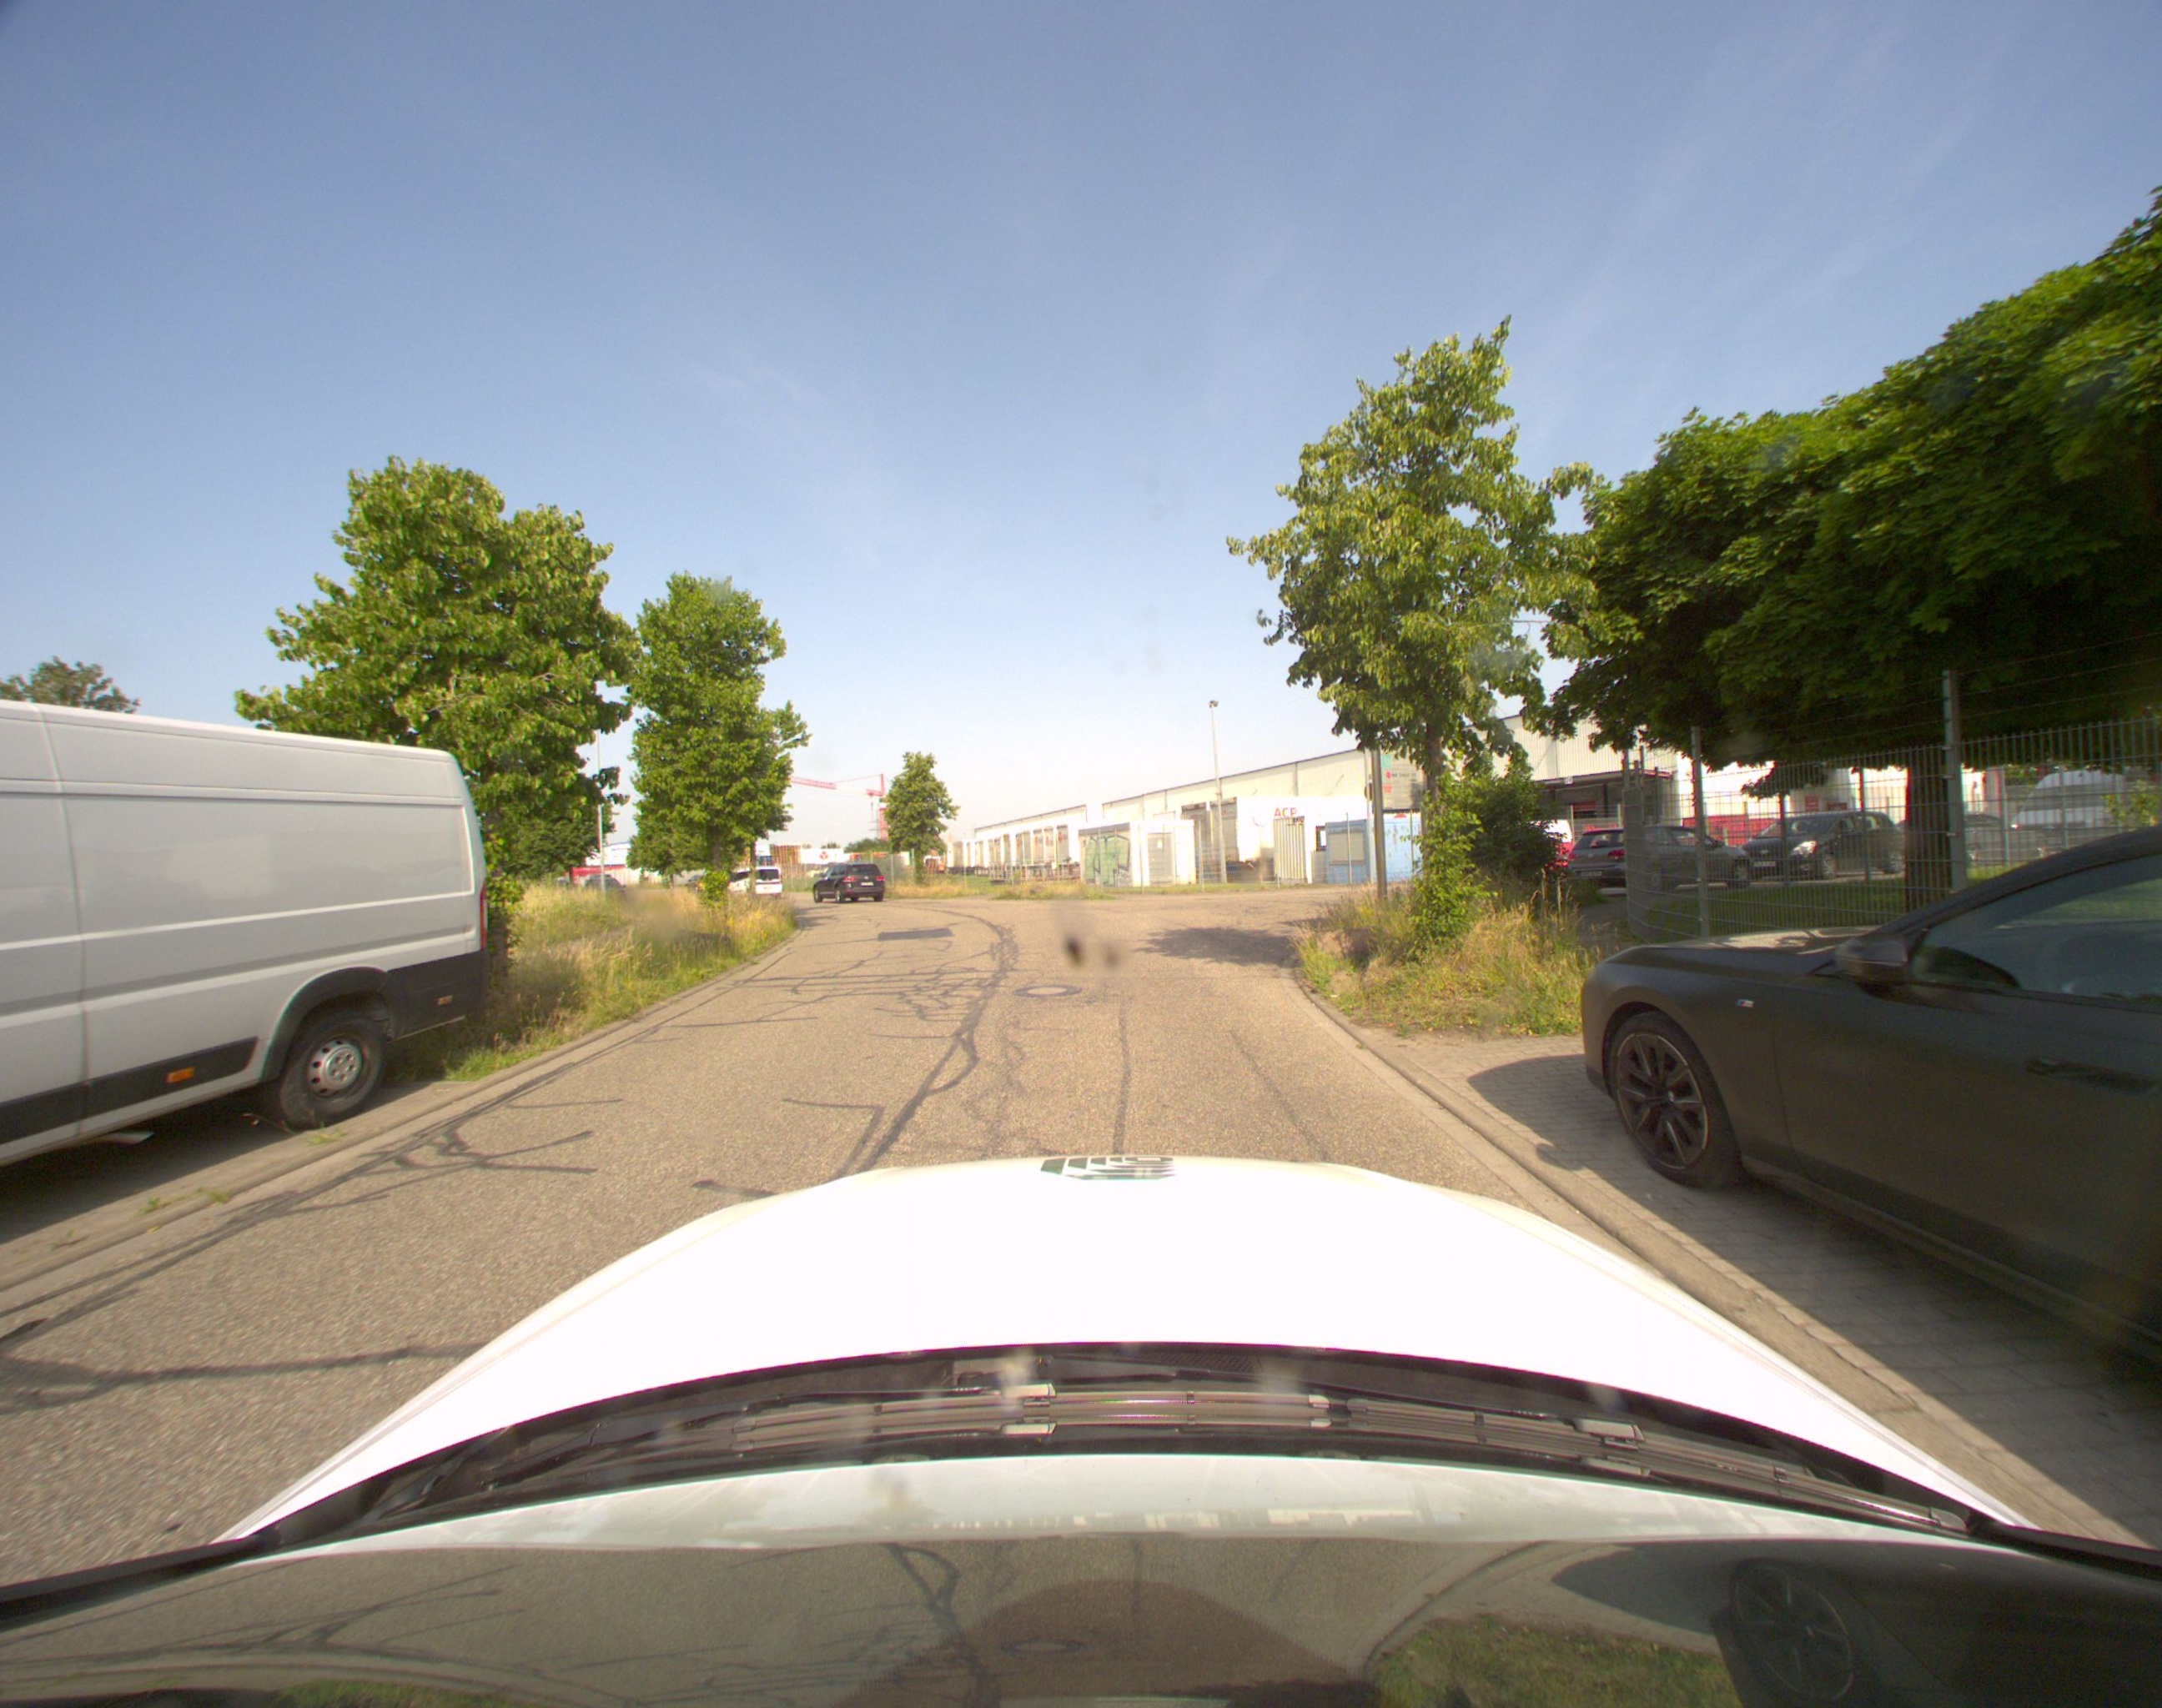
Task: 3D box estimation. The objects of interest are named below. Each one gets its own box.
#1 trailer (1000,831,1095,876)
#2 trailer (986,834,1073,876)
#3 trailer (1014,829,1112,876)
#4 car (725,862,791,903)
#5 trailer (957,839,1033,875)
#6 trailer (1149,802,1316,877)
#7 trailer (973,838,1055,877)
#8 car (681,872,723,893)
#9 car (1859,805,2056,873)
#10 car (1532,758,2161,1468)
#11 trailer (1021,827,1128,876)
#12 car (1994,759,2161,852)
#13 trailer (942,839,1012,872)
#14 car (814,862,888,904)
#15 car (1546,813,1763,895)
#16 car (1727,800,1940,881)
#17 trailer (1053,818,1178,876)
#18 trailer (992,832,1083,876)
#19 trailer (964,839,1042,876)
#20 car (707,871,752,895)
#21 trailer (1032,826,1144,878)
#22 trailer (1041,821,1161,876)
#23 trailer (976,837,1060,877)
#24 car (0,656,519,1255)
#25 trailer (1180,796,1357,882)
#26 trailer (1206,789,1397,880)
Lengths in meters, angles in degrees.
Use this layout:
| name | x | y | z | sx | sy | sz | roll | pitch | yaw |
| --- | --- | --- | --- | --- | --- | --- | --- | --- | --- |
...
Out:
| name | x | y | z | sx | sy | sz | roll | pitch | yaw |
| --- | --- | --- | --- | --- | --- | --- | --- | --- | --- |
| trailer | -2.997 | -0.090 | 73.120 | 7.995 | 3.893 | 2.755 | 0 | 0 | -22 |
| trailer | -4.973 | 0.049 | 78.899 | 7.995 | 3.893 | 2.755 | 0 | 0 | -22 |
| trailer | -1.563 | -0.171 | 70.509 | 8.066 | 3.893 | 2.755 | 0 | 0 | -22 |
| car | -18.408 | 1.620 | 46.319 | 2.139 | 2.110 | 4.570 | -2 | -1 | -40 |
| trailer | -9.635 | 0.315 | 90.926 | 7.995 | 3.893 | 2.755 | 0 | 0 | -22 |
| trailer | 8.281 | -0.818 | 44.447 | 8.767 | 3.761 | 2.770 | -2 | -1 | -22 |
| trailer | -6.981 | 0.322 | 84.912 | 7.995 | 3.893 | 2.755 | 0 | 0 | -22 |
| car | -29.366 | 2.195 | 63.080 | 1.730 | 1.455 | 4.136 | -5 | 1 | -42 |
| car | 23.019 | -0.384 | 21.400 | 4.490 | 1.518 | 1.717 | -2 | -2 | -18 |
| car | 3.283 | 0.511 | 1.731 | 1.873 | 1.574 | 5.121 | -4 | -1 | 2 |
| trailer | -0.523 | -0.222 | 66.689 | 8.341 | 3.893 | 2.755 | 0 | 0 | -22 |
| car | 30.485 | -1.451 | 24.001 | 6.845 | 2.483 | 2.194 | -2 | 1 | -18 |
| trailer | -12.695 | 0.122 | 99.278 | 7.995 | 3.893 | 2.722 | 0 | 0 | -22 |
| car | -9.915 | 1.228 | 34.872 | 1.894 | 1.586 | 4.071 | -2 | -1 | -33 |
| car | 12.404 | 0.015 | 17.659 | 3.959 | 1.524 | 1.717 | -2 | -3 | -18 |
| car | 17.778 | -0.315 | 19.267 | 4.269 | 1.626 | 1.865 | -2 | -3 | -20 |
| trailer | 2.465 | -0.496 | 58.023 | 8.570 | 3.893 | 2.755 | 0 | 0 | -22 |
| trailer | -4.037 | -0.010 | 75.912 | 7.995 | 3.893 | 2.755 | 0 | 0 | -22 |
| trailer | -8.382 | 0.361 | 87.889 | 7.995 | 3.893 | 2.755 | 0 | 0 | -22 |
| car | -25.579 | 2.115 | 59.229 | 1.730 | 1.515 | 3.955 | -5 | 1 | -43 |
| trailer | 0.568 | -0.136 | 63.848 | 8.341 | 3.893 | 2.755 | 0 | 0 | -22 |
| trailer | 1.534 | -0.390 | 60.907 | 8.570 | 3.893 | 2.755 | 0 | 0 | -22 |
| trailer | -6.307 | 0.243 | 81.701 | 7.995 | 3.893 | 2.755 | 0 | 0 | -22 |
| car | -5.734 | 0.446 | 3.579 | 2.096 | 2.595 | 6.500 | 0 | 0 | -1 |
| trailer | 9.606 | -0.806 | 41.659 | 8.567 | 3.893 | 2.756 | -3 | 0 | -21 |
| trailer | 10.509 | -0.953 | 38.814 | 8.565 | 3.894 | 2.757 | -2 | -3 | -20 |
